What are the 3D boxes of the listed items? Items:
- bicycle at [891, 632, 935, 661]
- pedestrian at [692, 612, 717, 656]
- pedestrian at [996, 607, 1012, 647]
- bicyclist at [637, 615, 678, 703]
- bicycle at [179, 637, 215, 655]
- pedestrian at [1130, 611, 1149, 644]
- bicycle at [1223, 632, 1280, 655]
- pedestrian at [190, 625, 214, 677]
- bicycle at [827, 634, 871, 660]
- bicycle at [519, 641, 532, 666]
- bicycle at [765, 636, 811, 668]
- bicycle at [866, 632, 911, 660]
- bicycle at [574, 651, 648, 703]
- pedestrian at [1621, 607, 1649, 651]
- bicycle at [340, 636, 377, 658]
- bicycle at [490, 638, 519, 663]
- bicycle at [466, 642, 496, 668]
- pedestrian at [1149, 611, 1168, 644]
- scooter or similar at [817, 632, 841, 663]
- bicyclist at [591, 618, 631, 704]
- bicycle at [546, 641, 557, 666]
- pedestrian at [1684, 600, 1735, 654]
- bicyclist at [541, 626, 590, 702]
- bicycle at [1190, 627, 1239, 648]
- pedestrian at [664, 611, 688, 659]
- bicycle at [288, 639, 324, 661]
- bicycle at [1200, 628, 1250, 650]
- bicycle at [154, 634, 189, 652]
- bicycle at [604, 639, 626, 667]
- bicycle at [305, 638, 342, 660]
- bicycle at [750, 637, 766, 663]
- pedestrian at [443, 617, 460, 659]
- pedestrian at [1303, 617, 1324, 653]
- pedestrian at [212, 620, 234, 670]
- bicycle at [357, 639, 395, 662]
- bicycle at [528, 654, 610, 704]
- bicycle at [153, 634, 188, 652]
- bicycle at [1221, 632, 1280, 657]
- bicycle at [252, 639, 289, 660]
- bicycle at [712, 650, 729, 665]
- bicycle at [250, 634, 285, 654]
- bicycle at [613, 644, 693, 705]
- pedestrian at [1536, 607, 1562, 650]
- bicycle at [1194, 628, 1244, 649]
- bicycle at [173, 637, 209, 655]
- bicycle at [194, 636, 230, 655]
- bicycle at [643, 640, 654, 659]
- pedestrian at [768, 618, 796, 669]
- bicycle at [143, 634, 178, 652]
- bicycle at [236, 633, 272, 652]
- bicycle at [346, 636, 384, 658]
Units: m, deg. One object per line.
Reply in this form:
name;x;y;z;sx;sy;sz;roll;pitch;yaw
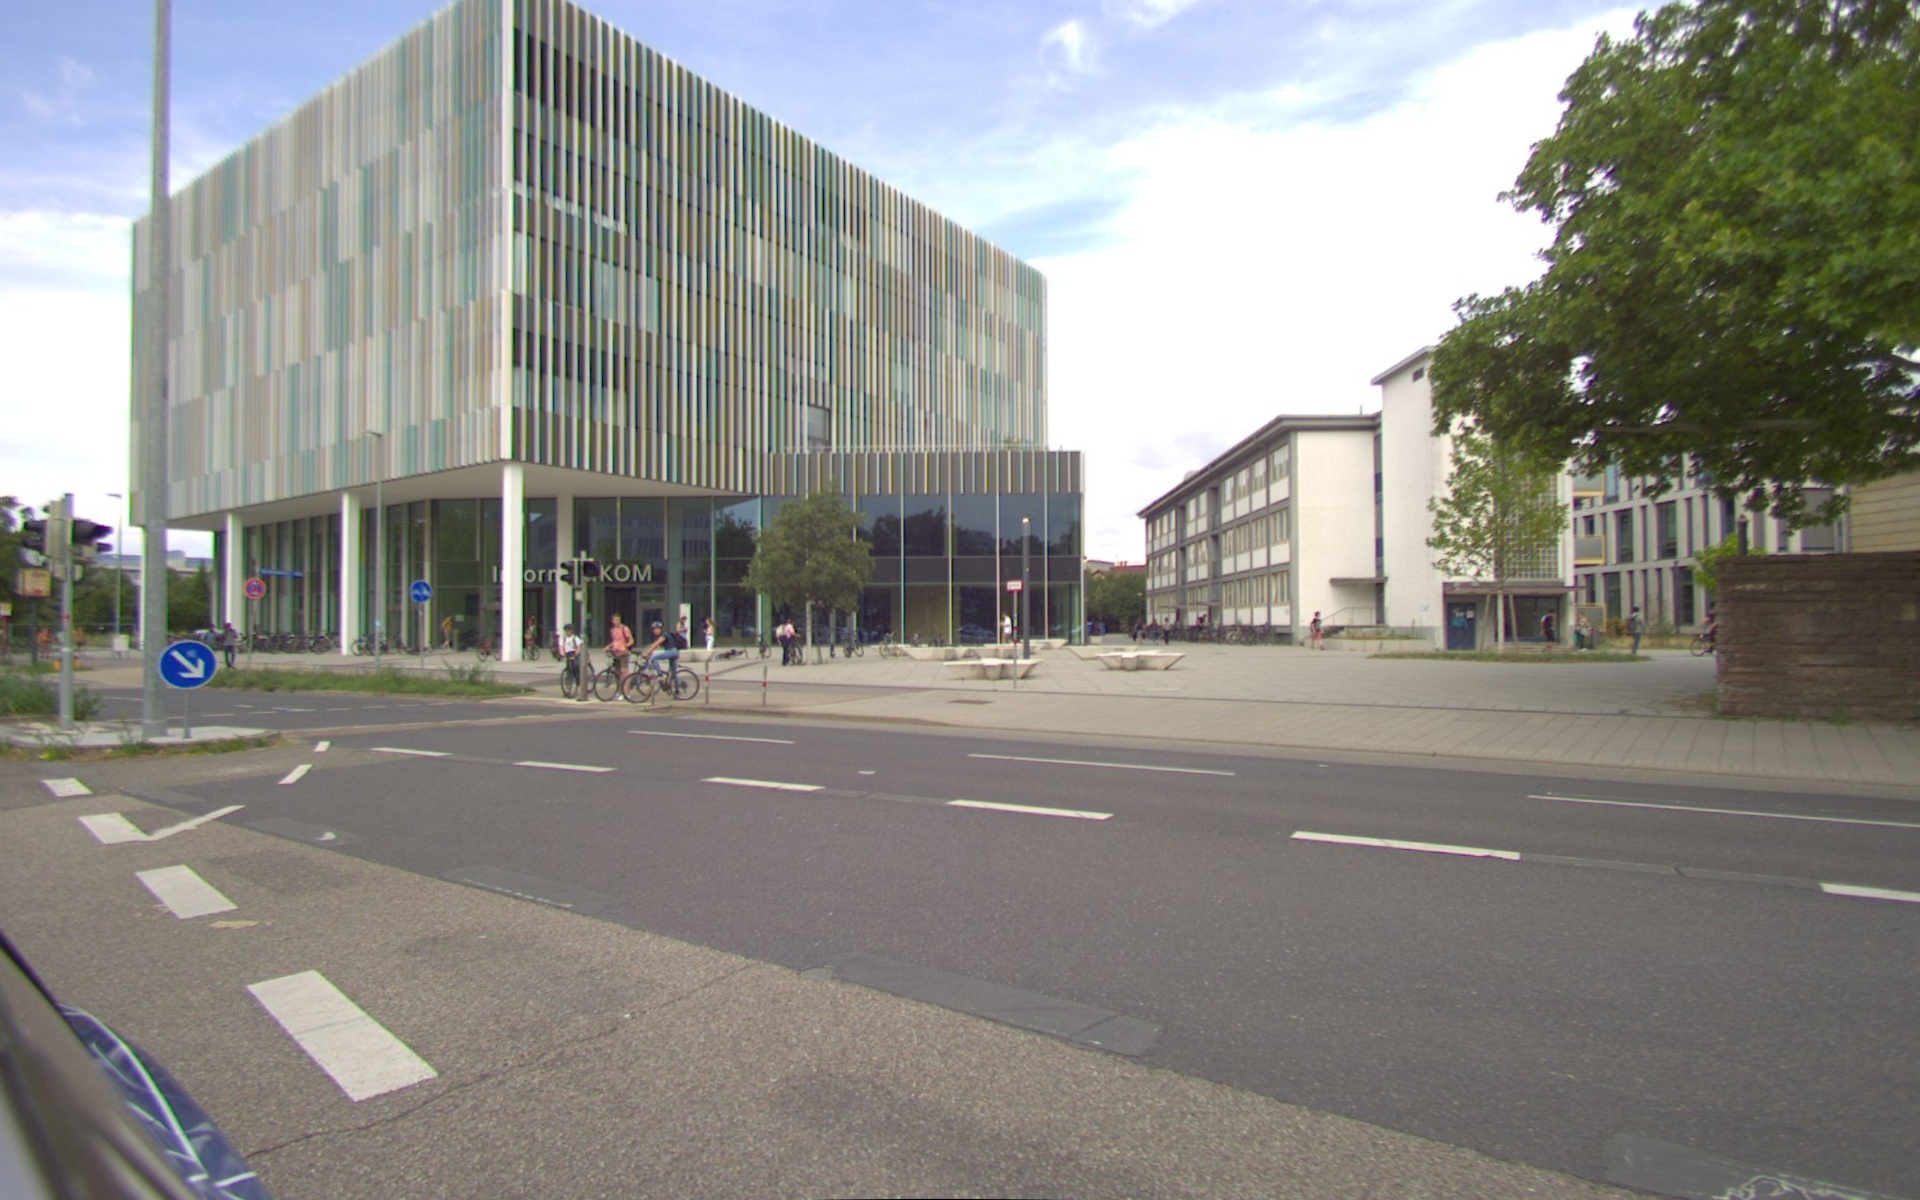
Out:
bicycle;-1.875;1.859;40.615;0.791;1.097;2.664;-1;-1;20
pedestrian;-9.465;1.261;37.513;0.670;1.612;0.729;-1;-1;5
pedestrian;1.986;1.230;45.697;0.626;1.792;0.598;0;-1;-9
bicyclist;-6.415;1.242;21.462;0.558;1.820;0.597;-1;0;22
bicycle;-46.037;2.769;61.050;0.433;1.031;1.687;-2;0;30
pedestrian;10.736;1.657;60.638;0.962;1.945;1.070;-1;-2;2
bicycle;14.700;2.192;51.148;2.637;1.142;0.745;-1;-1;2
pedestrian;-27.752;1.860;37.042;0.771;1.851;0.506;-3;-3;35
bicycle;-4.501;1.892;41.233;0.668;1.007;2.664;-1;-2;20
bicycle;-17.736;2.163;41.308;0.387;0.944;1.603;-2;0;-21
bicycle;-5.595;1.694;32.924;1.747;1.006;0.434;-2;-2;39
bicycle;-2.874;1.852;41.201;0.791;1.097;2.664;-1;-1;20
bicycle;-7.634;1.657;22.189;0.567;0.996;1.680;-1;0;21
pedestrian;24.006;1.026;35.994;0.735;1.560;0.694;-2;-2;42
bicycle;-28.647;2.235;48.209;0.388;0.944;1.530;-2;0;30
bicycle;-18.974;2.106;42.175;0.389;0.944;1.597;-2;0;2
bicycle;-19.712;2.263;41.656;0.389;0.944;1.610;-2;0;2
pedestrian;11.964;1.636;61.033;0.962;1.945;1.070;-1;-2;2
scooter or similar;-5.389;1.928;41.725;0.588;1.207;2.123;-1;-1;4
bicyclist;-7.644;1.323;22.182;0.558;1.820;0.597;-1;0;22
bicycle;-16.730;2.171;41.434;0.387;0.944;1.603;-2;0;-21
pedestrian;28.968;1.042;39.123;1.213;2.029;0.918;0;-2;-3
bicyclist;-9.054;1.464;23.232;0.719;1.685;0.723;-1;0;22
bicycle;15.030;2.212;59.790;2.637;1.142;0.745;-1;-1;2
pedestrian;-10.448;1.272;37.252;0.669;1.753;0.730;-1;-1;2
bicycle;-33.965;2.570;52.576;0.388;1.031;1.566;-2;0;30
bicycle;14.964;2.205;57.198;2.637;1.142;0.745;-1;-1;2
bicycle;-49.619;2.727;63.735;0.433;1.031;1.687;-2;0;30
bicycle;-14.039;2.139;41.188;0.388;1.037;1.547;-2;0;-2
bicycle;-32.300;2.486;51.364;0.388;1.031;1.566;-2;0;30
bicycle;-8.183;2.018;40.977;0.613;0.992;2.255;0;-1;-12
pedestrian;-25.261;1.882;50.242;0.623;2.059;0.506;-3;-2;34
pedestrian;15.459;1.534;44.213;0.588;1.560;0.659;0;-1;-12
pedestrian;-27.613;1.676;37.907;0.623;1.851;0.506;-3;-3;35
bicycle;-27.356;2.348;47.438;0.398;1.002;1.530;-2;0;31
bicycle;-9.001;1.801;23.347;0.723;0.996;1.809;-1;0;21
bicycle;-50.232;2.740;64.386;0.433;1.031;1.687;-2;0;30
bicycle;14.321;2.195;49.956;2.637;1.142;0.745;-1;-1;2
bicycle;-36.650;2.637;53.804;0.388;1.031;1.566;-2;0;30
bicycle;-9.620;2.308;40.628;0.613;0.526;2.255;0;-1;-12
bicycle;-37.854;2.389;55.314;0.388;1.031;1.566;-2;0;30
bicycle;-6.464;1.554;21.388;0.602;1.179;1.882;-1;-1;20
pedestrian;21.391;1.024;36.760;0.657;1.560;0.700;-2;-2;42
bicycle;14.936;2.209;58.435;2.637;1.142;0.745;-1;-1;2
bicycle;-46.738;2.789;61.531;0.433;1.031;1.687;-2;0;30
bicycle;-44.557;2.731;60.309;0.388;1.031;1.687;-2;0;30
bicycle;-12.872;2.042;41.853;0.387;0.678;1.801;-2;0;-17
pedestrian;-5.664;1.378;32.210;0.574;1.593;0.644;-2;-2;40
bicycle;-51.482;2.766;65.179;0.433;1.031;1.687;-2;0;30
bicycle;-38.871;2.342;55.706;0.388;1.031;1.566;-1;-3;30
bicycle;-28.107;2.216;47.812;0.392;0.944;1.530;-2;0;30
